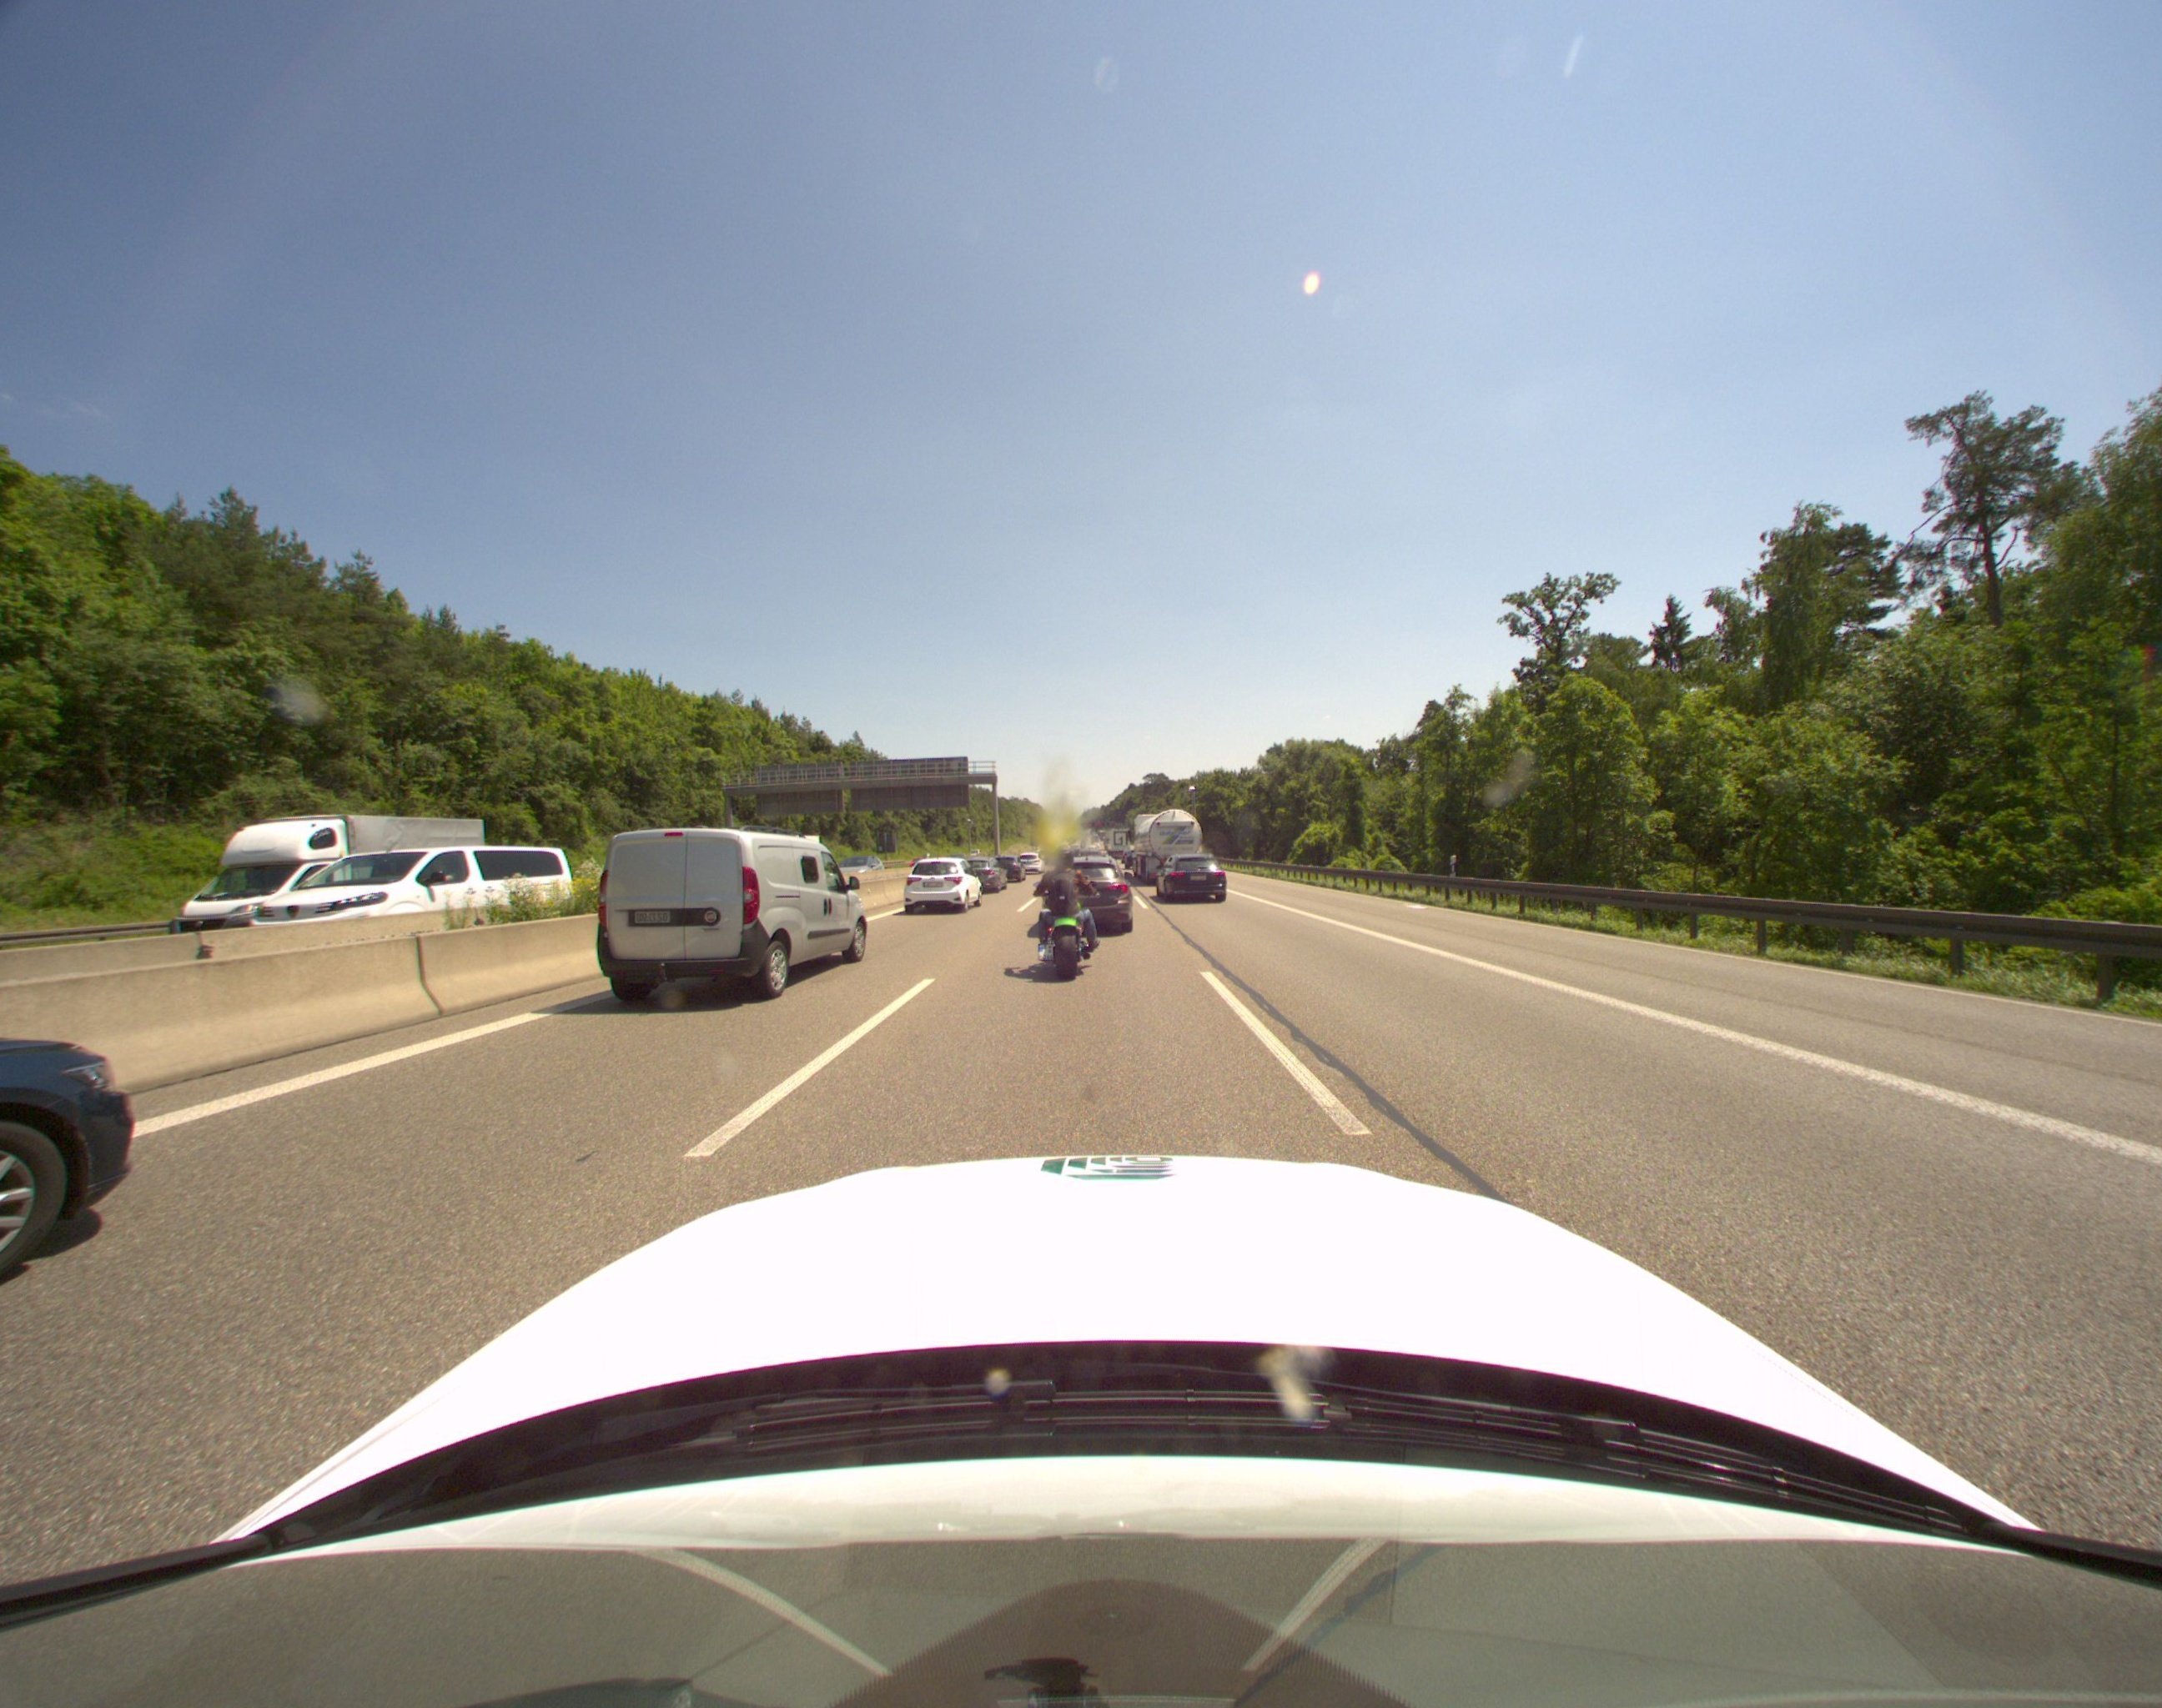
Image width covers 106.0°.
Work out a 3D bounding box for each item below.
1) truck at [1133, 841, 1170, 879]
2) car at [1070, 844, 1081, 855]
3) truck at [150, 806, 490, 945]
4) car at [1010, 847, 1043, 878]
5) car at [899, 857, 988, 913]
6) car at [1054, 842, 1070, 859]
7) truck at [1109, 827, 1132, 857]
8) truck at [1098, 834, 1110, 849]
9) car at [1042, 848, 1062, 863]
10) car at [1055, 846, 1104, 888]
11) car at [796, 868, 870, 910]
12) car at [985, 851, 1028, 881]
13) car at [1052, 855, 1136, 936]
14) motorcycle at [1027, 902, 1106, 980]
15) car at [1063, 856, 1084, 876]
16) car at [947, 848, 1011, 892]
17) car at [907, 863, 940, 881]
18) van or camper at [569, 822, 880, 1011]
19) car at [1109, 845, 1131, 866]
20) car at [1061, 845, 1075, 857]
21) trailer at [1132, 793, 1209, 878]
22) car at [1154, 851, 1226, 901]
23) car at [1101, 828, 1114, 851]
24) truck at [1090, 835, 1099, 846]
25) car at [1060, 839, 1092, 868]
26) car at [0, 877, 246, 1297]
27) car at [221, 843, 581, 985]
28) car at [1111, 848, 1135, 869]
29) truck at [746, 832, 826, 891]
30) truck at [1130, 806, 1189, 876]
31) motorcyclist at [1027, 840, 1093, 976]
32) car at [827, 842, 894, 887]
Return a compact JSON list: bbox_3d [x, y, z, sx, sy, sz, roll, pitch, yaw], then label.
[{"bbox_3d":[5.827,0.472,68.399,2.381,2.979,8.251,-1,0,0],"label":"truck"},{"bbox_3d":[-1.007,-0.890,152.984,1.986,2.013,4.001,-2,0,1],"label":"car"},{"bbox_3d":[-18.458,0.508,20.504,2.170,2.885,6.742,-1,-1,0],"label":"truck"},{"bbox_3d":[-3.755,0.604,57.172,1.987,2.014,4.000,-1,-1,0],"label":"car"},{"bbox_3d":[-3.831,0.839,23.280,1.770,1.411,4.000,-1,-1,1],"label":"car"},{"bbox_3d":[-2.303,-0.425,98.717,1.654,1.978,4.001,-2,-1,1],"label":"car"},{"bbox_3d":[5.434,-1.617,110.697,2.841,3.821,7.194,-1,-1,4],"label":"truck"},{"bbox_3d":[5.593,-2.976,198.766,2.687,3.405,10.480,-2,0,1],"label":"truck"},{"bbox_3d":[-2.948,0.170,82.771,1.757,1.442,4.001,-1,-1,1],"label":"car"},{"bbox_3d":[-0.055,0.565,35.269,1.987,1.711,3.999,-1,-1,0],"label":"car"},{"bbox_3d":[-10.299,1.417,34.148,1.819,1.494,3.999,-2,0,0],"label":"car"},{"bbox_3d":[-3.921,0.640,43.581,1.988,1.464,3.997,-1,-1,-2],"label":"car"},{"bbox_3d":[0.278,0.763,16.970,1.535,1.450,4.001,-1,0,1],"label":"car"},{"bbox_3d":[-0.152,1.121,10.972,0.932,0.793,2.299,-1,0,1],"label":"motorcycle"},{"bbox_3d":[-0.773,1.303,85.141,1.986,2.014,4.000,-1,-1,1],"label":"car"},{"bbox_3d":[-4.126,0.657,33.552,1.986,1.684,4.330,-1,-1,1],"label":"car"},{"bbox_3d":[-13.730,1.561,71.034,1.986,1.519,4.001,-1,-1,1],"label":"car"},{"bbox_3d":[-4.153,0.606,10.477,1.846,1.880,4.563,-1,0,2],"label":"van or camper"},{"bbox_3d":[3.889,0.144,81.746,1.987,2.014,3.998,-1,-1,-1],"label":"car"},{"bbox_3d":[-1.785,-0.378,110.755,1.654,1.599,4.001,-2,0,1],"label":"car"},{"bbox_3d":[4.243,-0.722,40.844,2.818,3.671,10.733,-1,-1,1],"label":"trailer"},{"bbox_3d":[3.436,0.688,26.366,1.786,1.458,4.624,-1,-1,1],"label":"car"},{"bbox_3d":[4.672,-2.510,146.506,2.159,3.893,9.331,-1,-1,1],"label":"car"},{"bbox_3d":[4.273,-4.248,263.786,2.687,3.405,10.480,-2,0,1],"label":"truck"},{"bbox_3d":[-0.290,0.015,53.299,1.987,1.775,3.999,-1,-1,0],"label":"car"},{"bbox_3d":[-4.743,0.825,1.333,1.868,1.450,4.678,-1,0,1],"label":"car"},{"bbox_3d":[-11.337,0.904,14.228,1.986,2.014,4.959,-1,-1,2],"label":"car"},{"bbox_3d":[3.307,0.376,64.772,1.770,1.527,4.000,-1,-1,1],"label":"car"},{"bbox_3d":[-21.281,0.555,59.257,2.682,3.990,7.991,-1,-1,1],"label":"truck"},{"bbox_3d":[4.349,-0.636,46.539,2.818,3.671,6.430,-1,-1,1],"label":"truck"},{"bbox_3d":[-0.251,0.677,10.657,0.796,1.688,1.016,-1,-1,1],"label":"motorcyclist"},{"bbox_3d":[-10.594,0.522,39.366,1.986,2.014,4.001,-1,-1,2],"label":"car"}]
